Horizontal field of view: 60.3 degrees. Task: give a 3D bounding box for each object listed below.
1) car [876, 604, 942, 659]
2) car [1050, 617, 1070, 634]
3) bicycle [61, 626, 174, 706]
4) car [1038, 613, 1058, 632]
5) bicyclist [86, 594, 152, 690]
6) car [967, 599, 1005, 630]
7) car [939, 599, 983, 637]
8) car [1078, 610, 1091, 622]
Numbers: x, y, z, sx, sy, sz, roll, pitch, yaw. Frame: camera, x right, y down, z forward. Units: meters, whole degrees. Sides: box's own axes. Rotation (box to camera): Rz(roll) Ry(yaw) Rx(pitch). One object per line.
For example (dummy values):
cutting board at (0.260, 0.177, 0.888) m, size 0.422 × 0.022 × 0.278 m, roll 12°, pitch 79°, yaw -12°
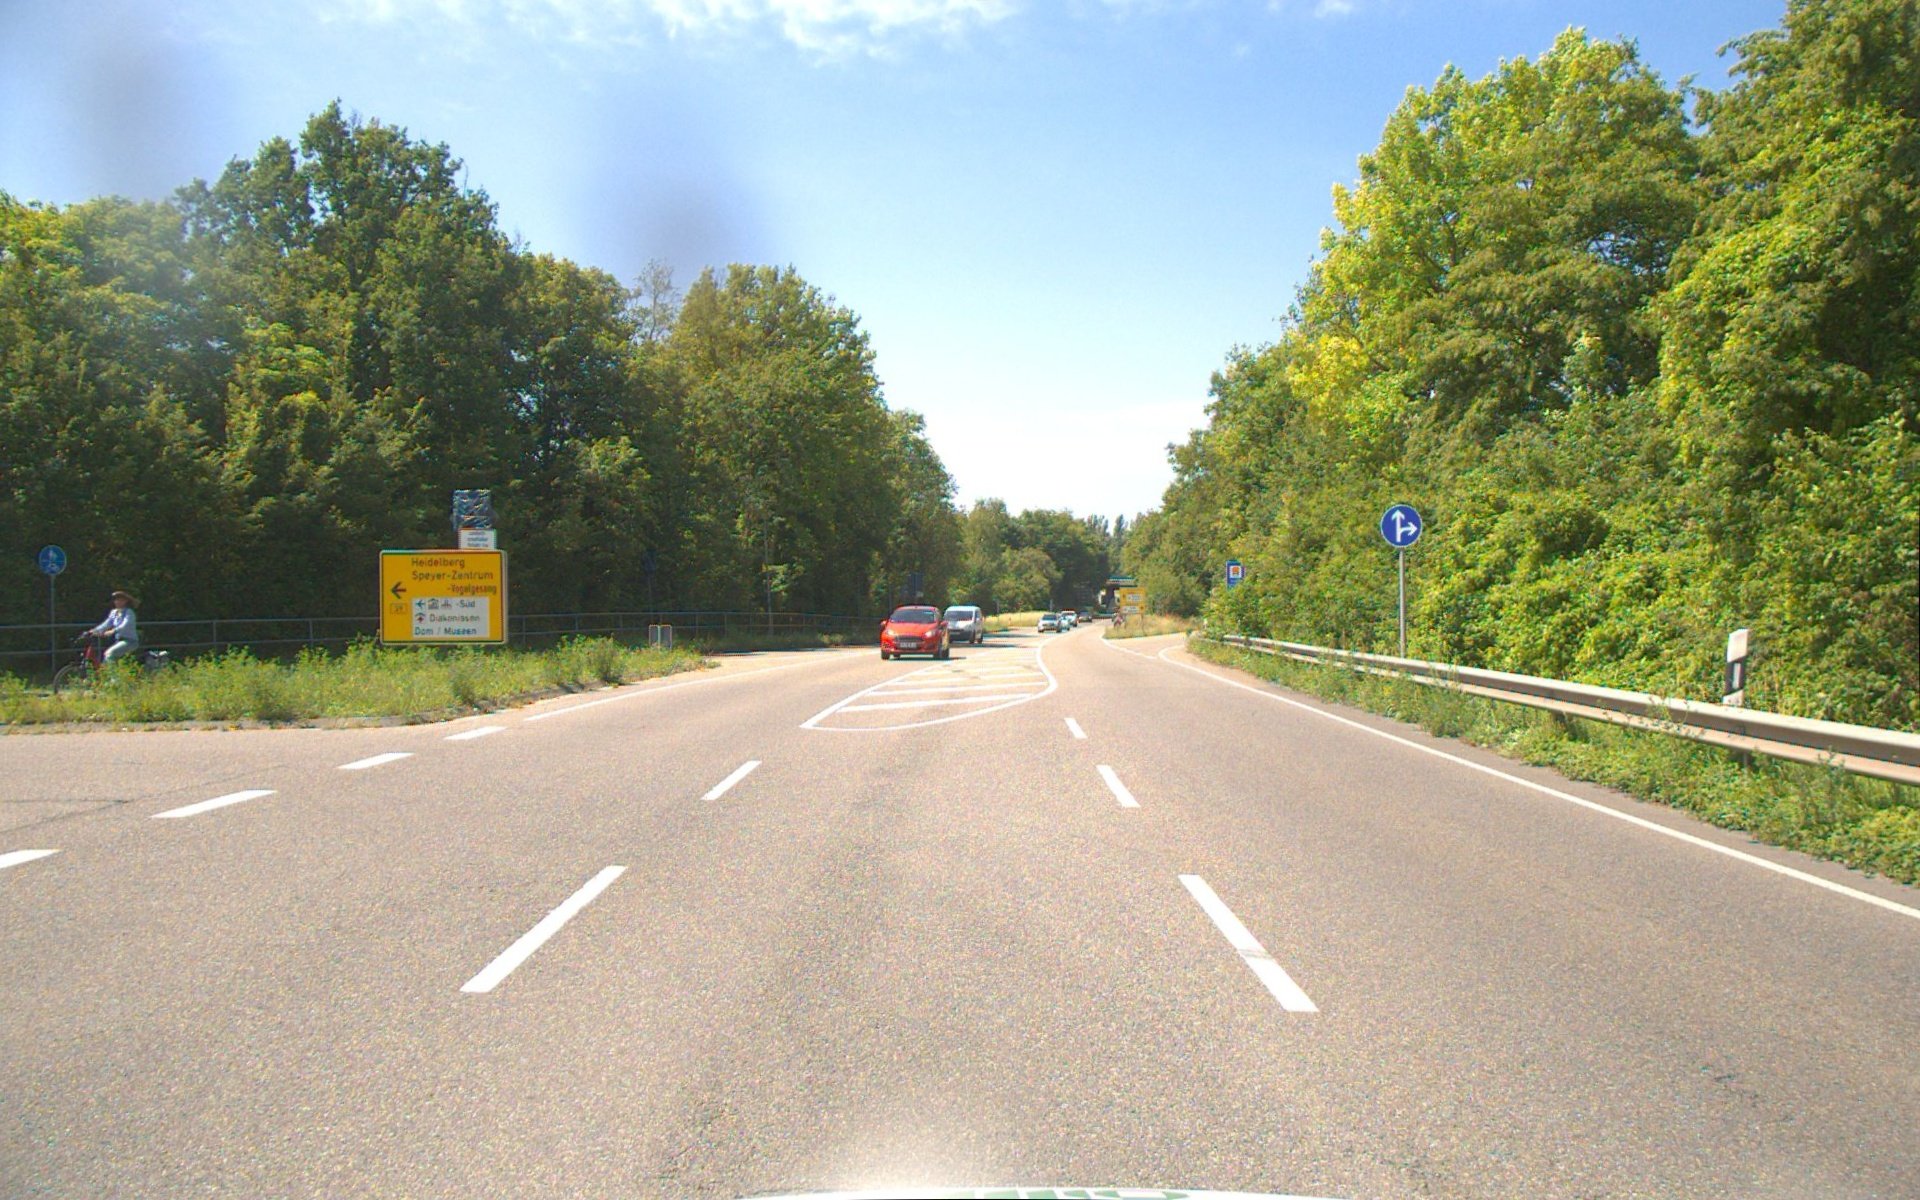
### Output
car at (-1.407, 0.853, 46.799) m, size 1.773 × 1.483 × 3.757 m, roll 0°, pitch 0°, yaw -1°
car at (9.761, 2.450, 161.661) m, size 1.641 × 1.554 × 4.003 m, roll 0°, pitch 0°, yaw 7°
bicycle at (-12.379, 0.949, 24.337) m, size 0.427 × 1.133 × 1.477 m, roll -1°, pitch -1°, yaw 33°
car at (7.811, 1.980, 146.270) m, size 1.642 × 1.554 × 4.002 m, roll 0°, pitch 0°, yaw 5°
bicyclist at (-12.382, 0.612, 24.347) m, size 0.675 × 1.387 × 0.607 m, roll -1°, pitch -1°, yaw 34°
car at (2.781, 1.506, 178.757) m, size 1.971 × 3.282 × 4.763 m, roll 0°, pitch 0°, yaw -29°
car at (0.084, 0.867, 81.865) m, size 1.952 × 1.760 × 4.276 m, roll 0°, pitch 0°, yaw 3°
car at (16.916, 2.176, 224.129) m, size 1.683 × 1.535 × 3.712 m, roll 0°, pitch 0°, yaw 6°
